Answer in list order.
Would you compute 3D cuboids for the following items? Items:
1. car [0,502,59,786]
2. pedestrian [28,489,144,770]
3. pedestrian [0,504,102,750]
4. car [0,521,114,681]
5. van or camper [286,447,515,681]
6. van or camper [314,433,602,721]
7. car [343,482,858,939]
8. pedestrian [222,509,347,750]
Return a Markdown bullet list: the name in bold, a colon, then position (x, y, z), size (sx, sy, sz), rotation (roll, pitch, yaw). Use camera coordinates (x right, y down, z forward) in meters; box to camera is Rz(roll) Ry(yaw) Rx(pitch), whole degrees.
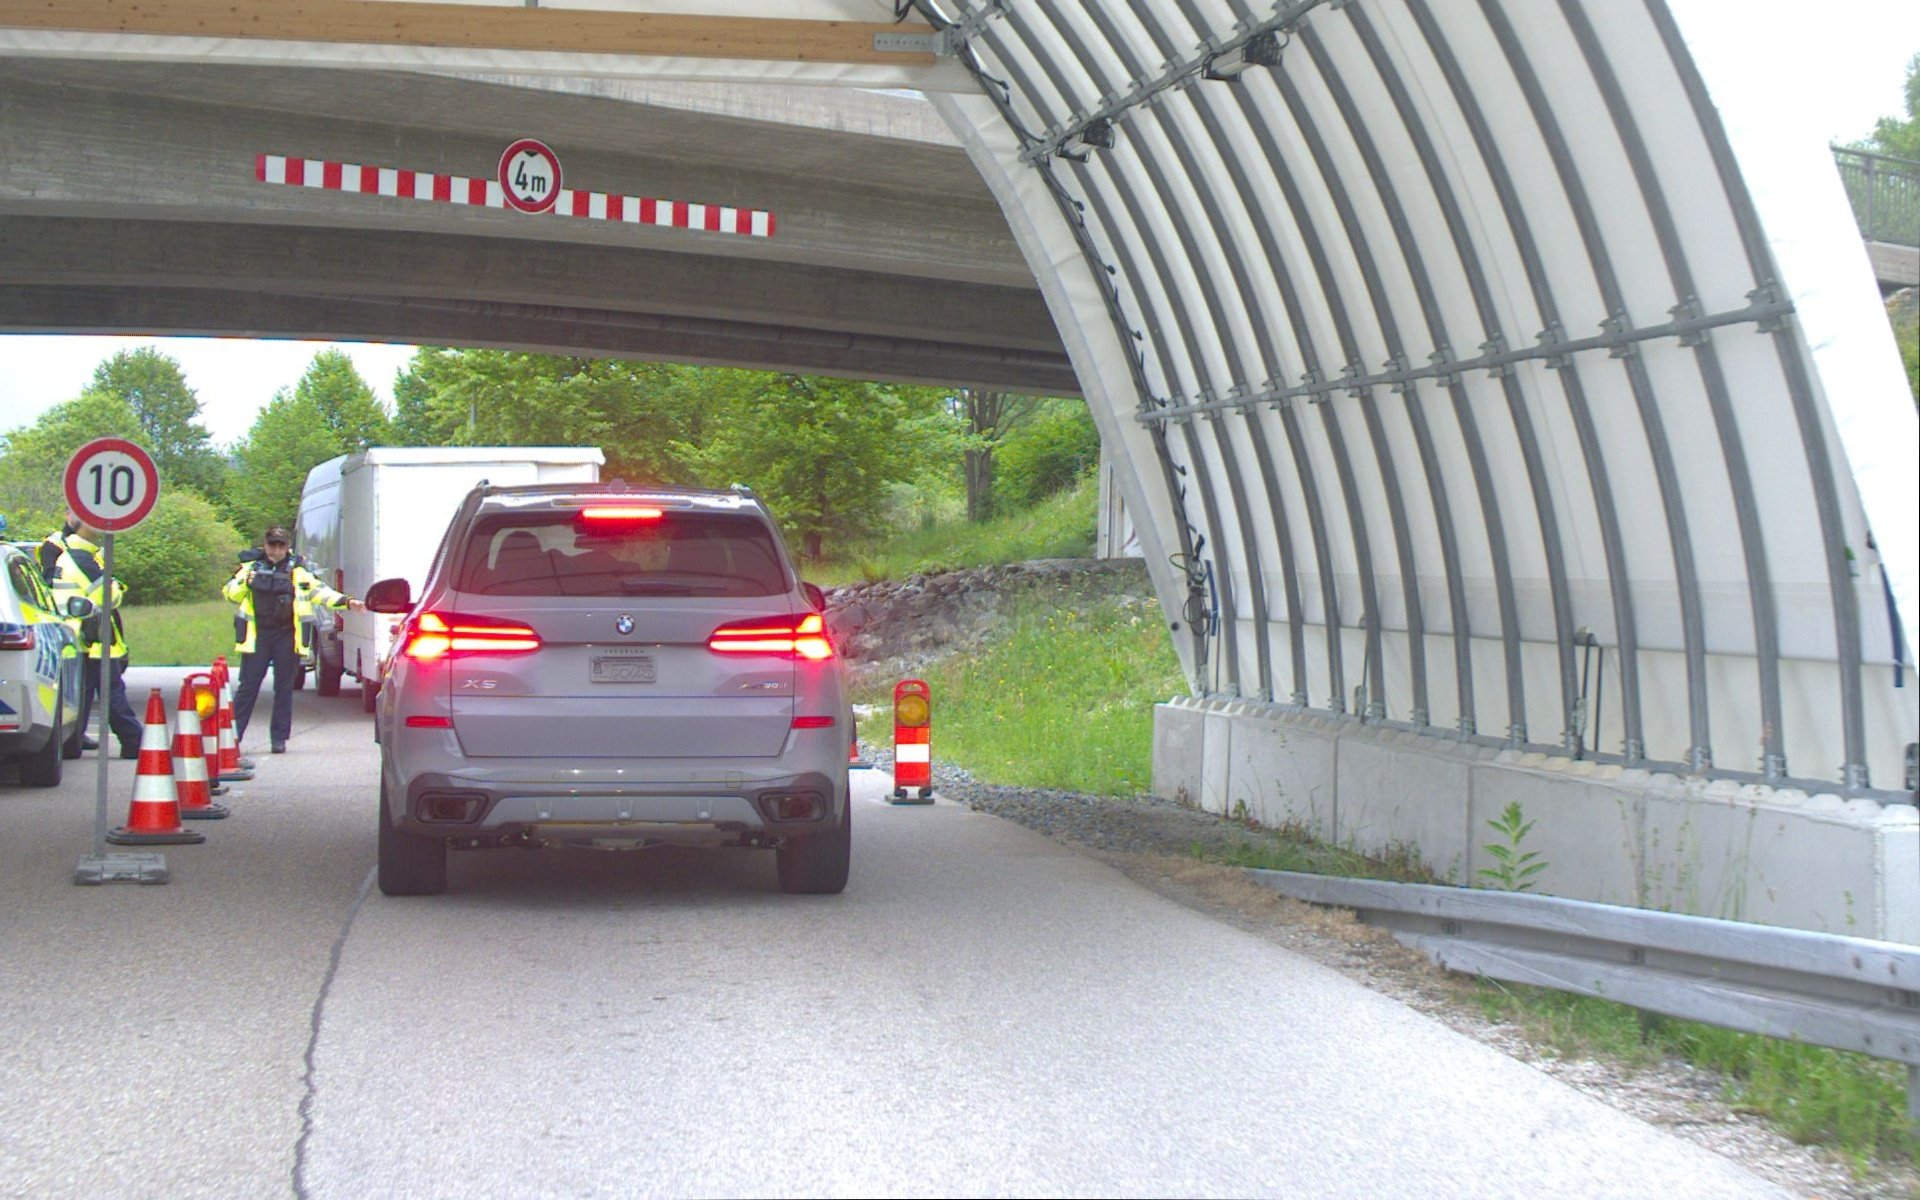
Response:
- **car**: position (-6.704, 0.241, 21.704), size (1.877, 1.641, 4.001), rotation (-1, 1, -14)
- **pedestrian**: position (-6.066, 0.193, 23.879), size (0.749, 1.912, 0.763), rotation (-1, 1, -14)
- **pedestrian**: position (-6.581, 0.187, 24.855), size (0.609, 1.748, 0.666), rotation (-1, 1, -5)
- **car**: position (-13.516, 0.006, 44.163), size (4.807, 2.007, 1.840), rotation (0, 1, 8)
- **van or camper**: position (-6.563, -0.431, 39.825), size (2.103, 2.510, 5.553), rotation (0, 1, -14)
- **van or camper**: position (-5.064, -0.252, 33.830), size (2.229, 2.543, 6.613), rotation (-1, 1, -13)
- **car**: position (-1.687, 0.400, 15.474), size (1.993, 1.759, 4.001), rotation (-1, 1, -8)
- **pedestrian**: position (-4.913, 0.205, 24.985), size (0.779, 1.716, 0.757), rotation (-1, 1, -19)
